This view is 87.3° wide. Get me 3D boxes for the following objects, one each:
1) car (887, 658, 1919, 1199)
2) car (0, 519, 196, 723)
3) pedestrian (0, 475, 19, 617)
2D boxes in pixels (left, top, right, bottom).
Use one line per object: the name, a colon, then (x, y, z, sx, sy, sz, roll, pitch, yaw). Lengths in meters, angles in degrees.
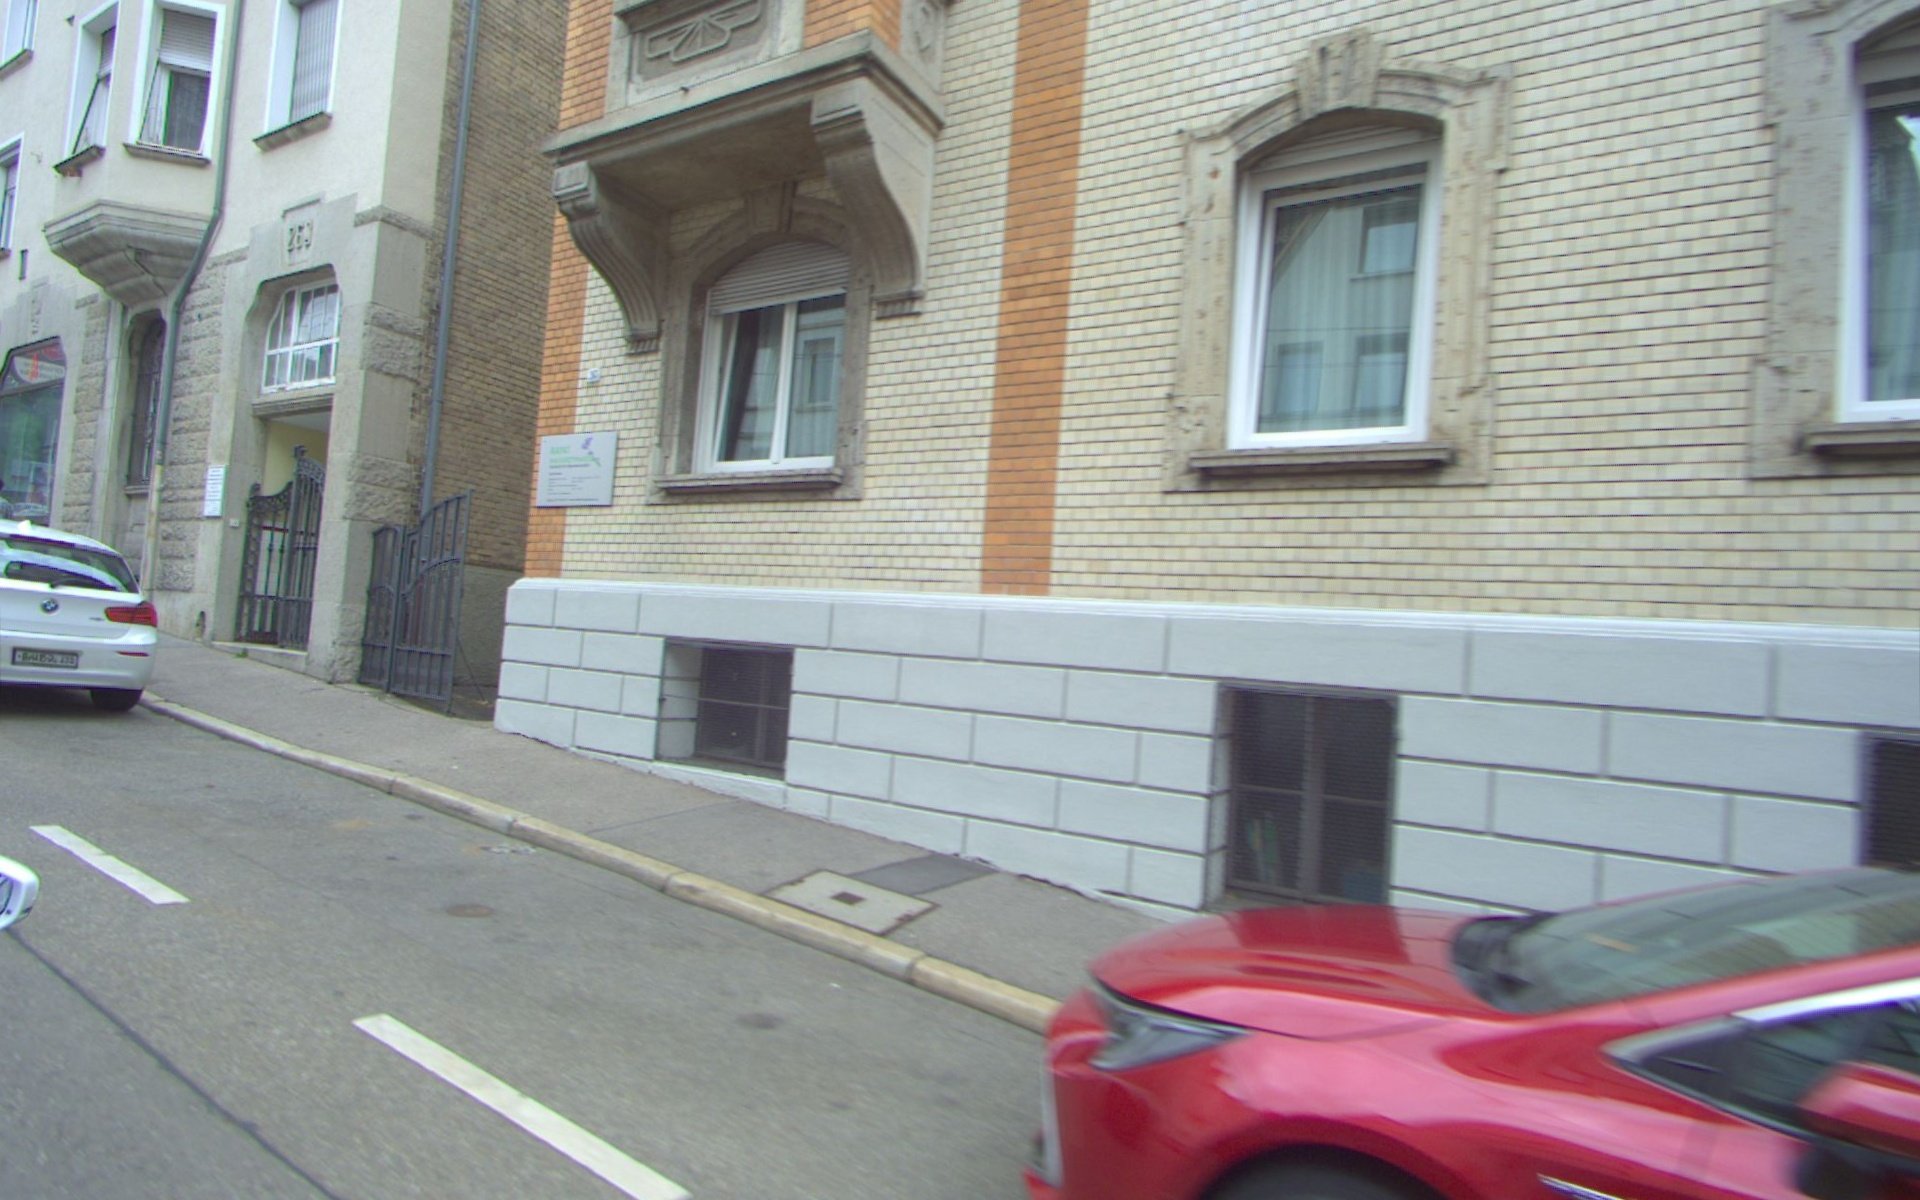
car: (2.258, 1.203, 1.942, 4.513, 1.491, 1.785, 6, -4, 32)
car: (-8.464, -0.028, 8.371, 4.235, 1.405, 1.755, 6, -4, 31)
pedestrian: (-12.603, -0.715, 12.803, 0.621, 1.824, 0.600, 6, -1, 31)
